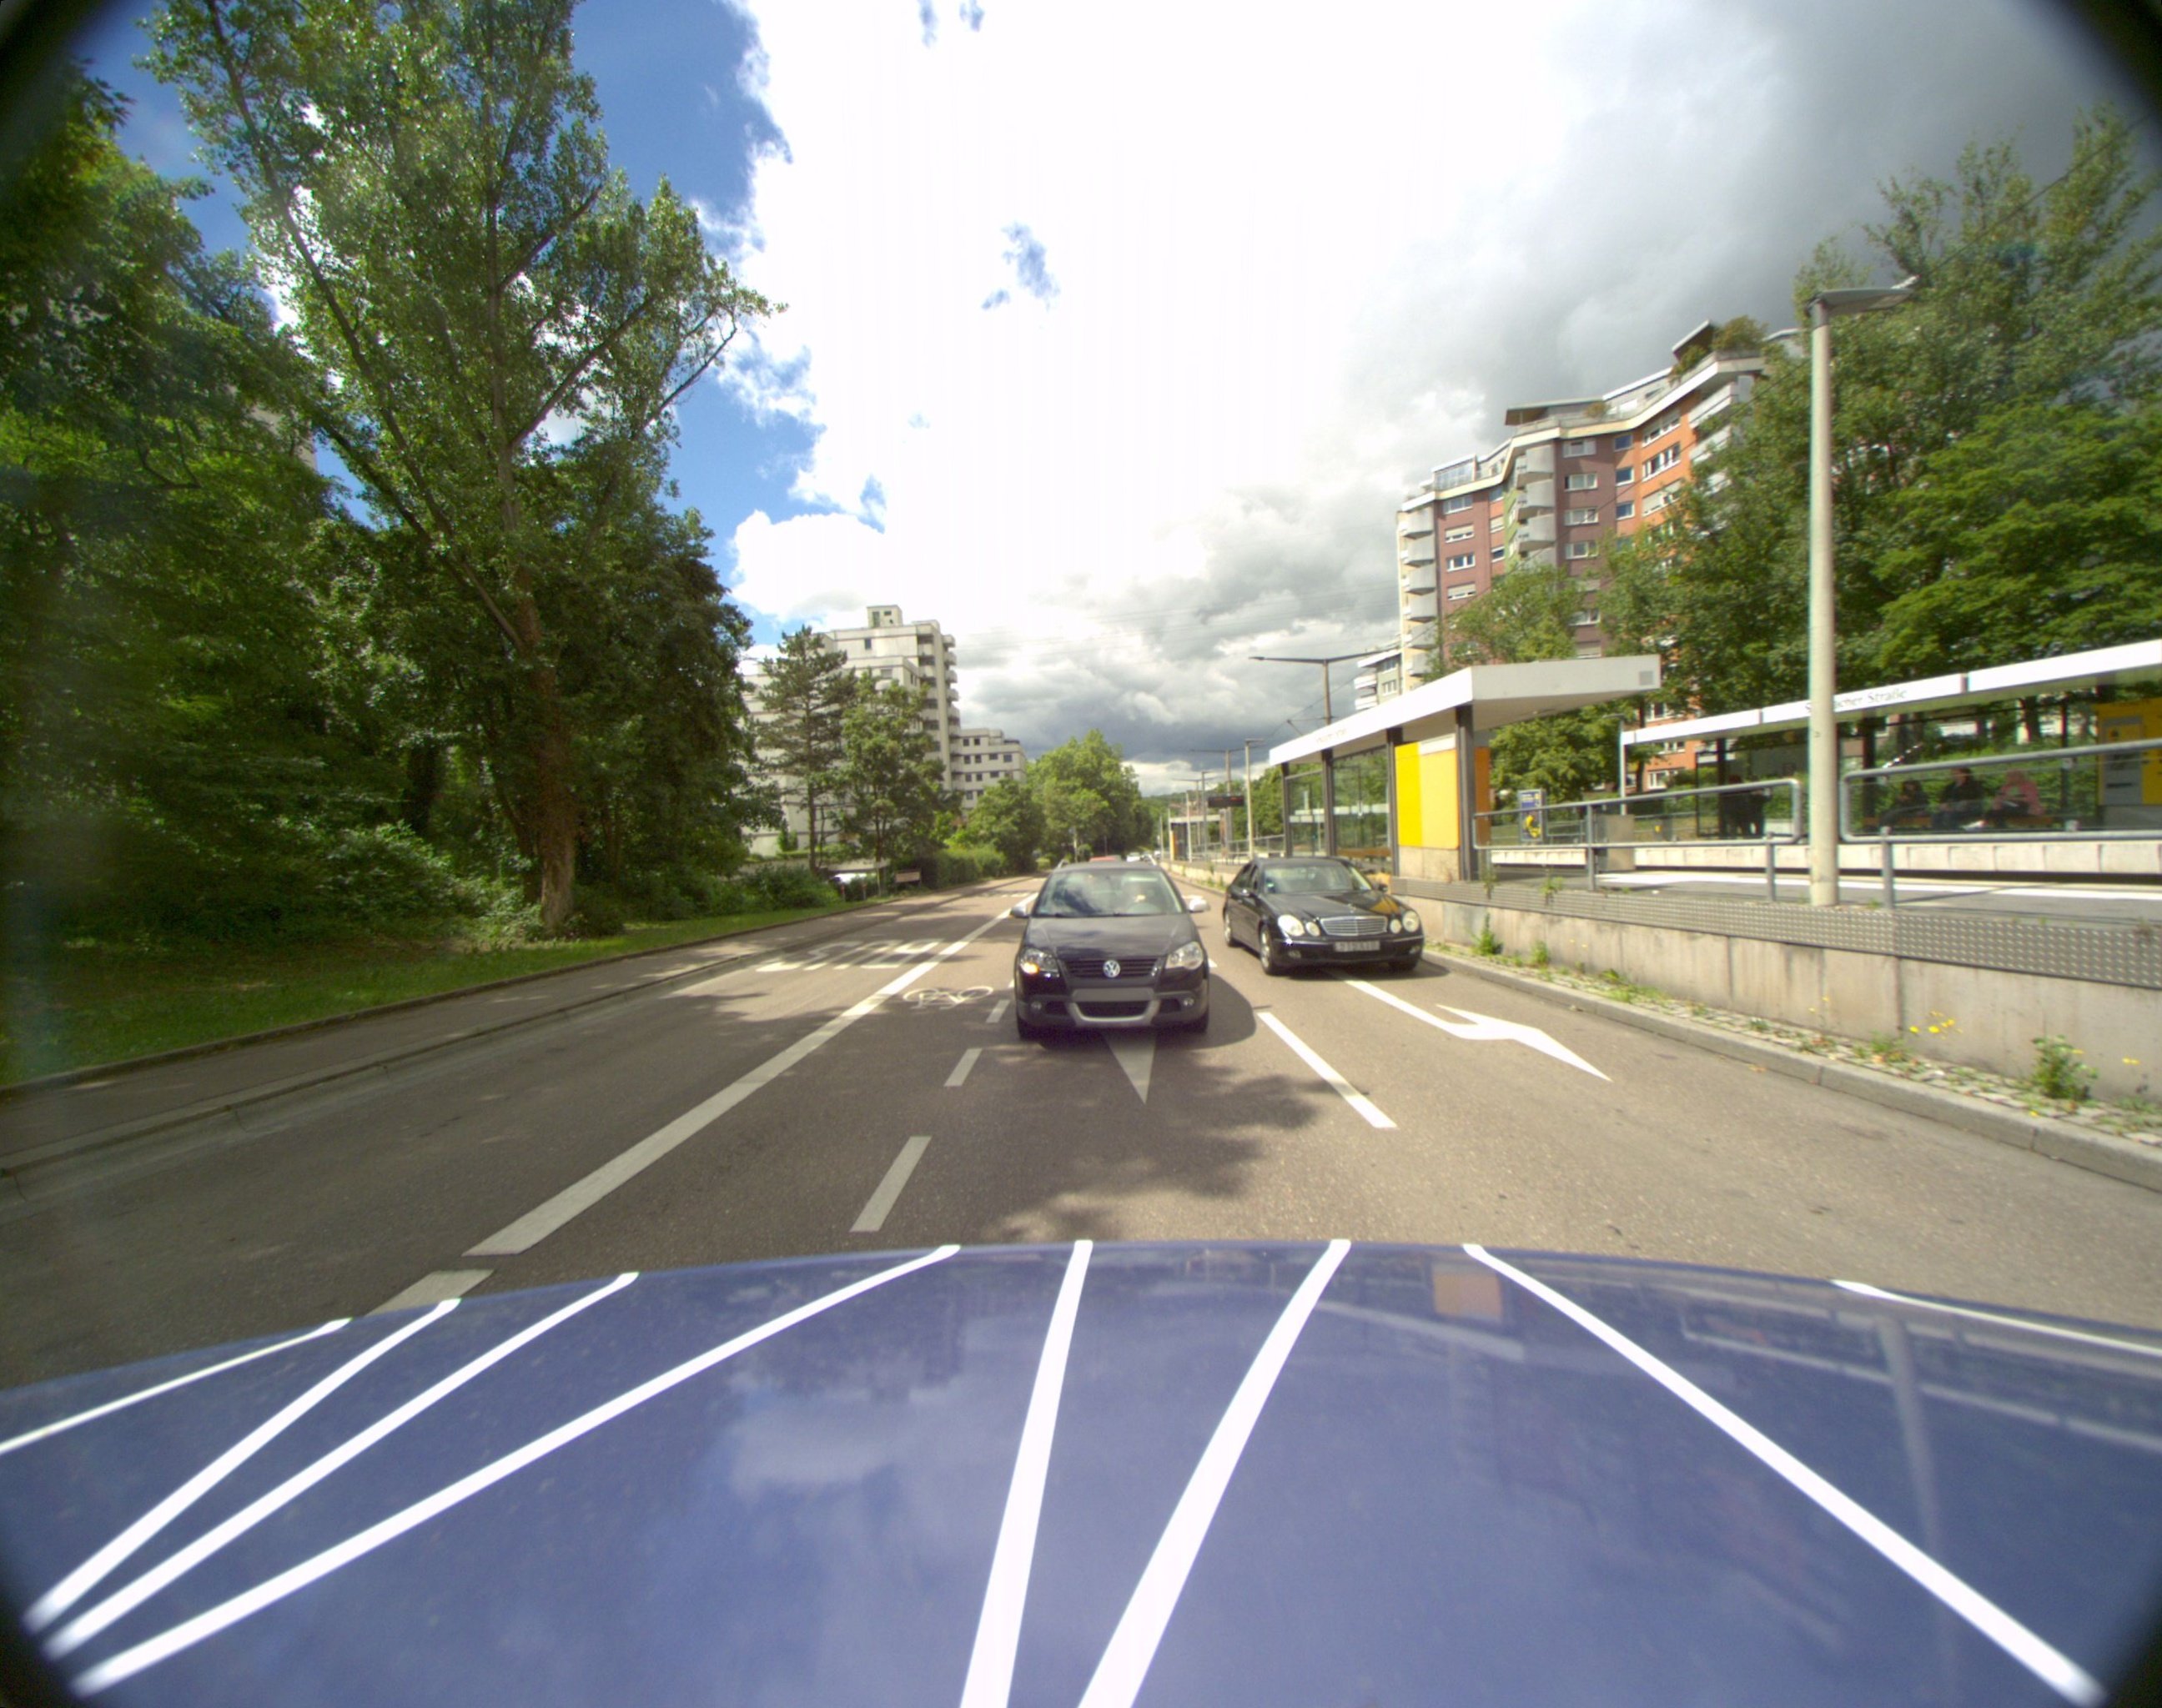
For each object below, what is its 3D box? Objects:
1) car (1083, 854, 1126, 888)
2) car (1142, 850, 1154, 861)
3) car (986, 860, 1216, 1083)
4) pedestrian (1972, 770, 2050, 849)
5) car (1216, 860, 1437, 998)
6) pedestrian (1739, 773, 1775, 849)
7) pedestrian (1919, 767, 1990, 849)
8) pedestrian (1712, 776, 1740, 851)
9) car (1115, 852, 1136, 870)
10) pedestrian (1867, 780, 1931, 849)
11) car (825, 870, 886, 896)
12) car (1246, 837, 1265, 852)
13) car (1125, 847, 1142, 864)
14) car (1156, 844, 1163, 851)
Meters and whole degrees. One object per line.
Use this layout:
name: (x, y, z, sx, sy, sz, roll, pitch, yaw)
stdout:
car: (1.113, 0.765, 35.328, 1.821, 1.377, 4.066, -2, 1, 3)
car: (10.838, 0.257, 123.417, 1.801, 1.698, 4.000, -3, 1, 4)
car: (0.249, 0.896, 7.618, 1.641, 1.521, 4.000, -2, 1, 3)
pedestrian: (15.535, -0.731, 12.703, 0.713, 1.270, 0.463, -2, 1, 0)
car: (3.047, 0.840, 10.355, 1.821, 1.377, 4.066, -2, 1, 3)
pedestrian: (15.579, -0.975, 17.520, 0.387, 1.703, 0.550, -3, 1, -42)
pedestrian: (15.552, -0.807, 13.535, 0.713, 1.409, 0.463, -2, 1, 0)
pedestrian: (15.100, -0.943, 17.795, 0.354, 1.703, 0.426, -3, 1, -41)
car: (3.818, 0.561, 64.678, 1.643, 1.395, 3.708, -2, 1, 5)
pedestrian: (15.705, -0.751, 14.599, 0.713, 1.270, 0.463, -2, 1, 0)
car: (-19.298, 2.462, 65.122, 4.543, 2.002, 2.001, -3, 1, 7)
car: (23.595, -1.292, 102.909, 1.737, 2.002, 4.000, -2, 1, 2)
car: (6.882, 0.174, 99.111, 1.997, 2.002, 4.001, -3, 1, 7)
car: (18.211, -1.499, 176.595, 1.518, 1.674, 4.000, -2, 1, 4)
